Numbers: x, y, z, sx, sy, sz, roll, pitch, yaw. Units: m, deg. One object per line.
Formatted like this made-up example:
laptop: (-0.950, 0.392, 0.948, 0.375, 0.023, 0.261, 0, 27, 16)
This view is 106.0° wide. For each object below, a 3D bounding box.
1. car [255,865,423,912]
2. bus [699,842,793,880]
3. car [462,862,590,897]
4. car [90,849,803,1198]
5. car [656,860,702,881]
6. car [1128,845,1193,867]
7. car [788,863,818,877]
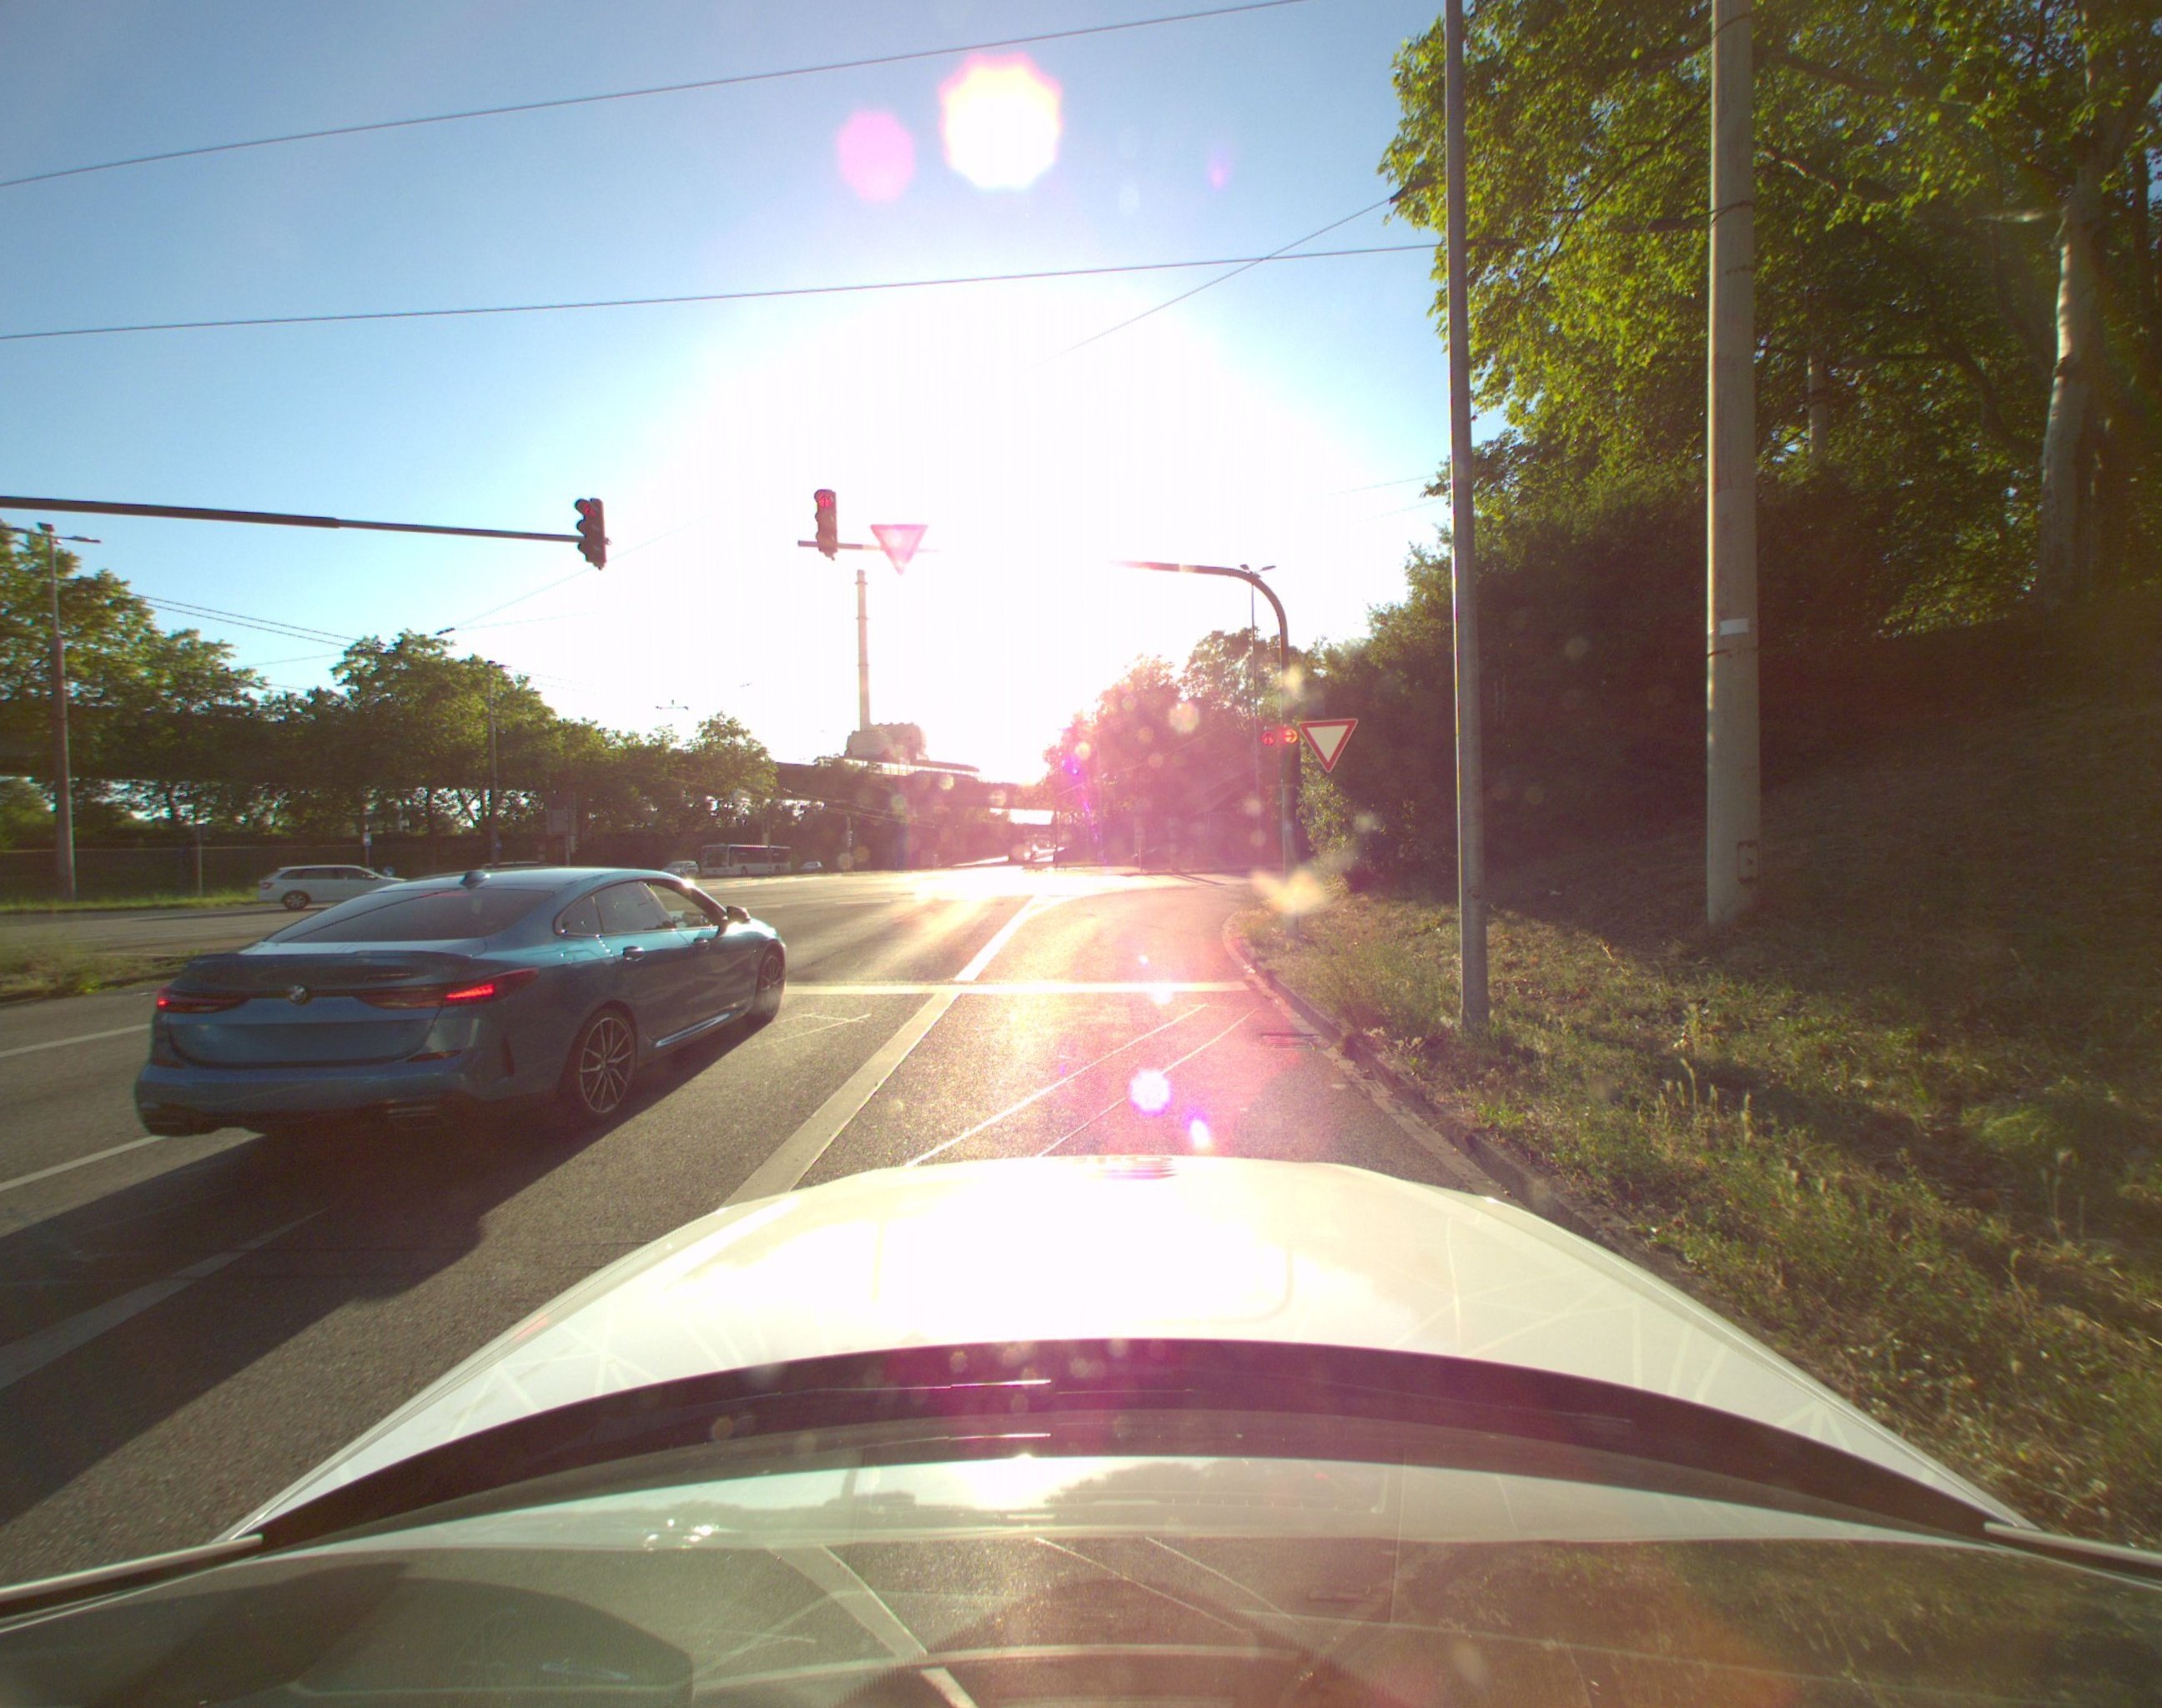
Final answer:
car: (-25.757, 1.140, 28.462, 4.219, 1.405, 1.651, -1, 0, -41)
bus: (-30.507, 0.716, 74.965, 2.533, 3.130, 12.928, -2, -1, 3)
car: (-24.866, 1.106, 36.637, 1.649, 1.405, 4.472, -1, 0, 42)
car: (-3.524, 0.735, 5.722, 1.709, 1.465, 4.205, -2, 1, -1)
car: (-31.045, 1.237, 63.055, 1.602, 1.512, 4.006, -1, 0, -1)
car: (6.054, 0.140, 61.931, 4.586, 1.574, 1.684, -1, 0, -17)
car: (-29.777, 1.693, 87.267, 1.600, 1.419, 4.011, -1, 0, 2)
